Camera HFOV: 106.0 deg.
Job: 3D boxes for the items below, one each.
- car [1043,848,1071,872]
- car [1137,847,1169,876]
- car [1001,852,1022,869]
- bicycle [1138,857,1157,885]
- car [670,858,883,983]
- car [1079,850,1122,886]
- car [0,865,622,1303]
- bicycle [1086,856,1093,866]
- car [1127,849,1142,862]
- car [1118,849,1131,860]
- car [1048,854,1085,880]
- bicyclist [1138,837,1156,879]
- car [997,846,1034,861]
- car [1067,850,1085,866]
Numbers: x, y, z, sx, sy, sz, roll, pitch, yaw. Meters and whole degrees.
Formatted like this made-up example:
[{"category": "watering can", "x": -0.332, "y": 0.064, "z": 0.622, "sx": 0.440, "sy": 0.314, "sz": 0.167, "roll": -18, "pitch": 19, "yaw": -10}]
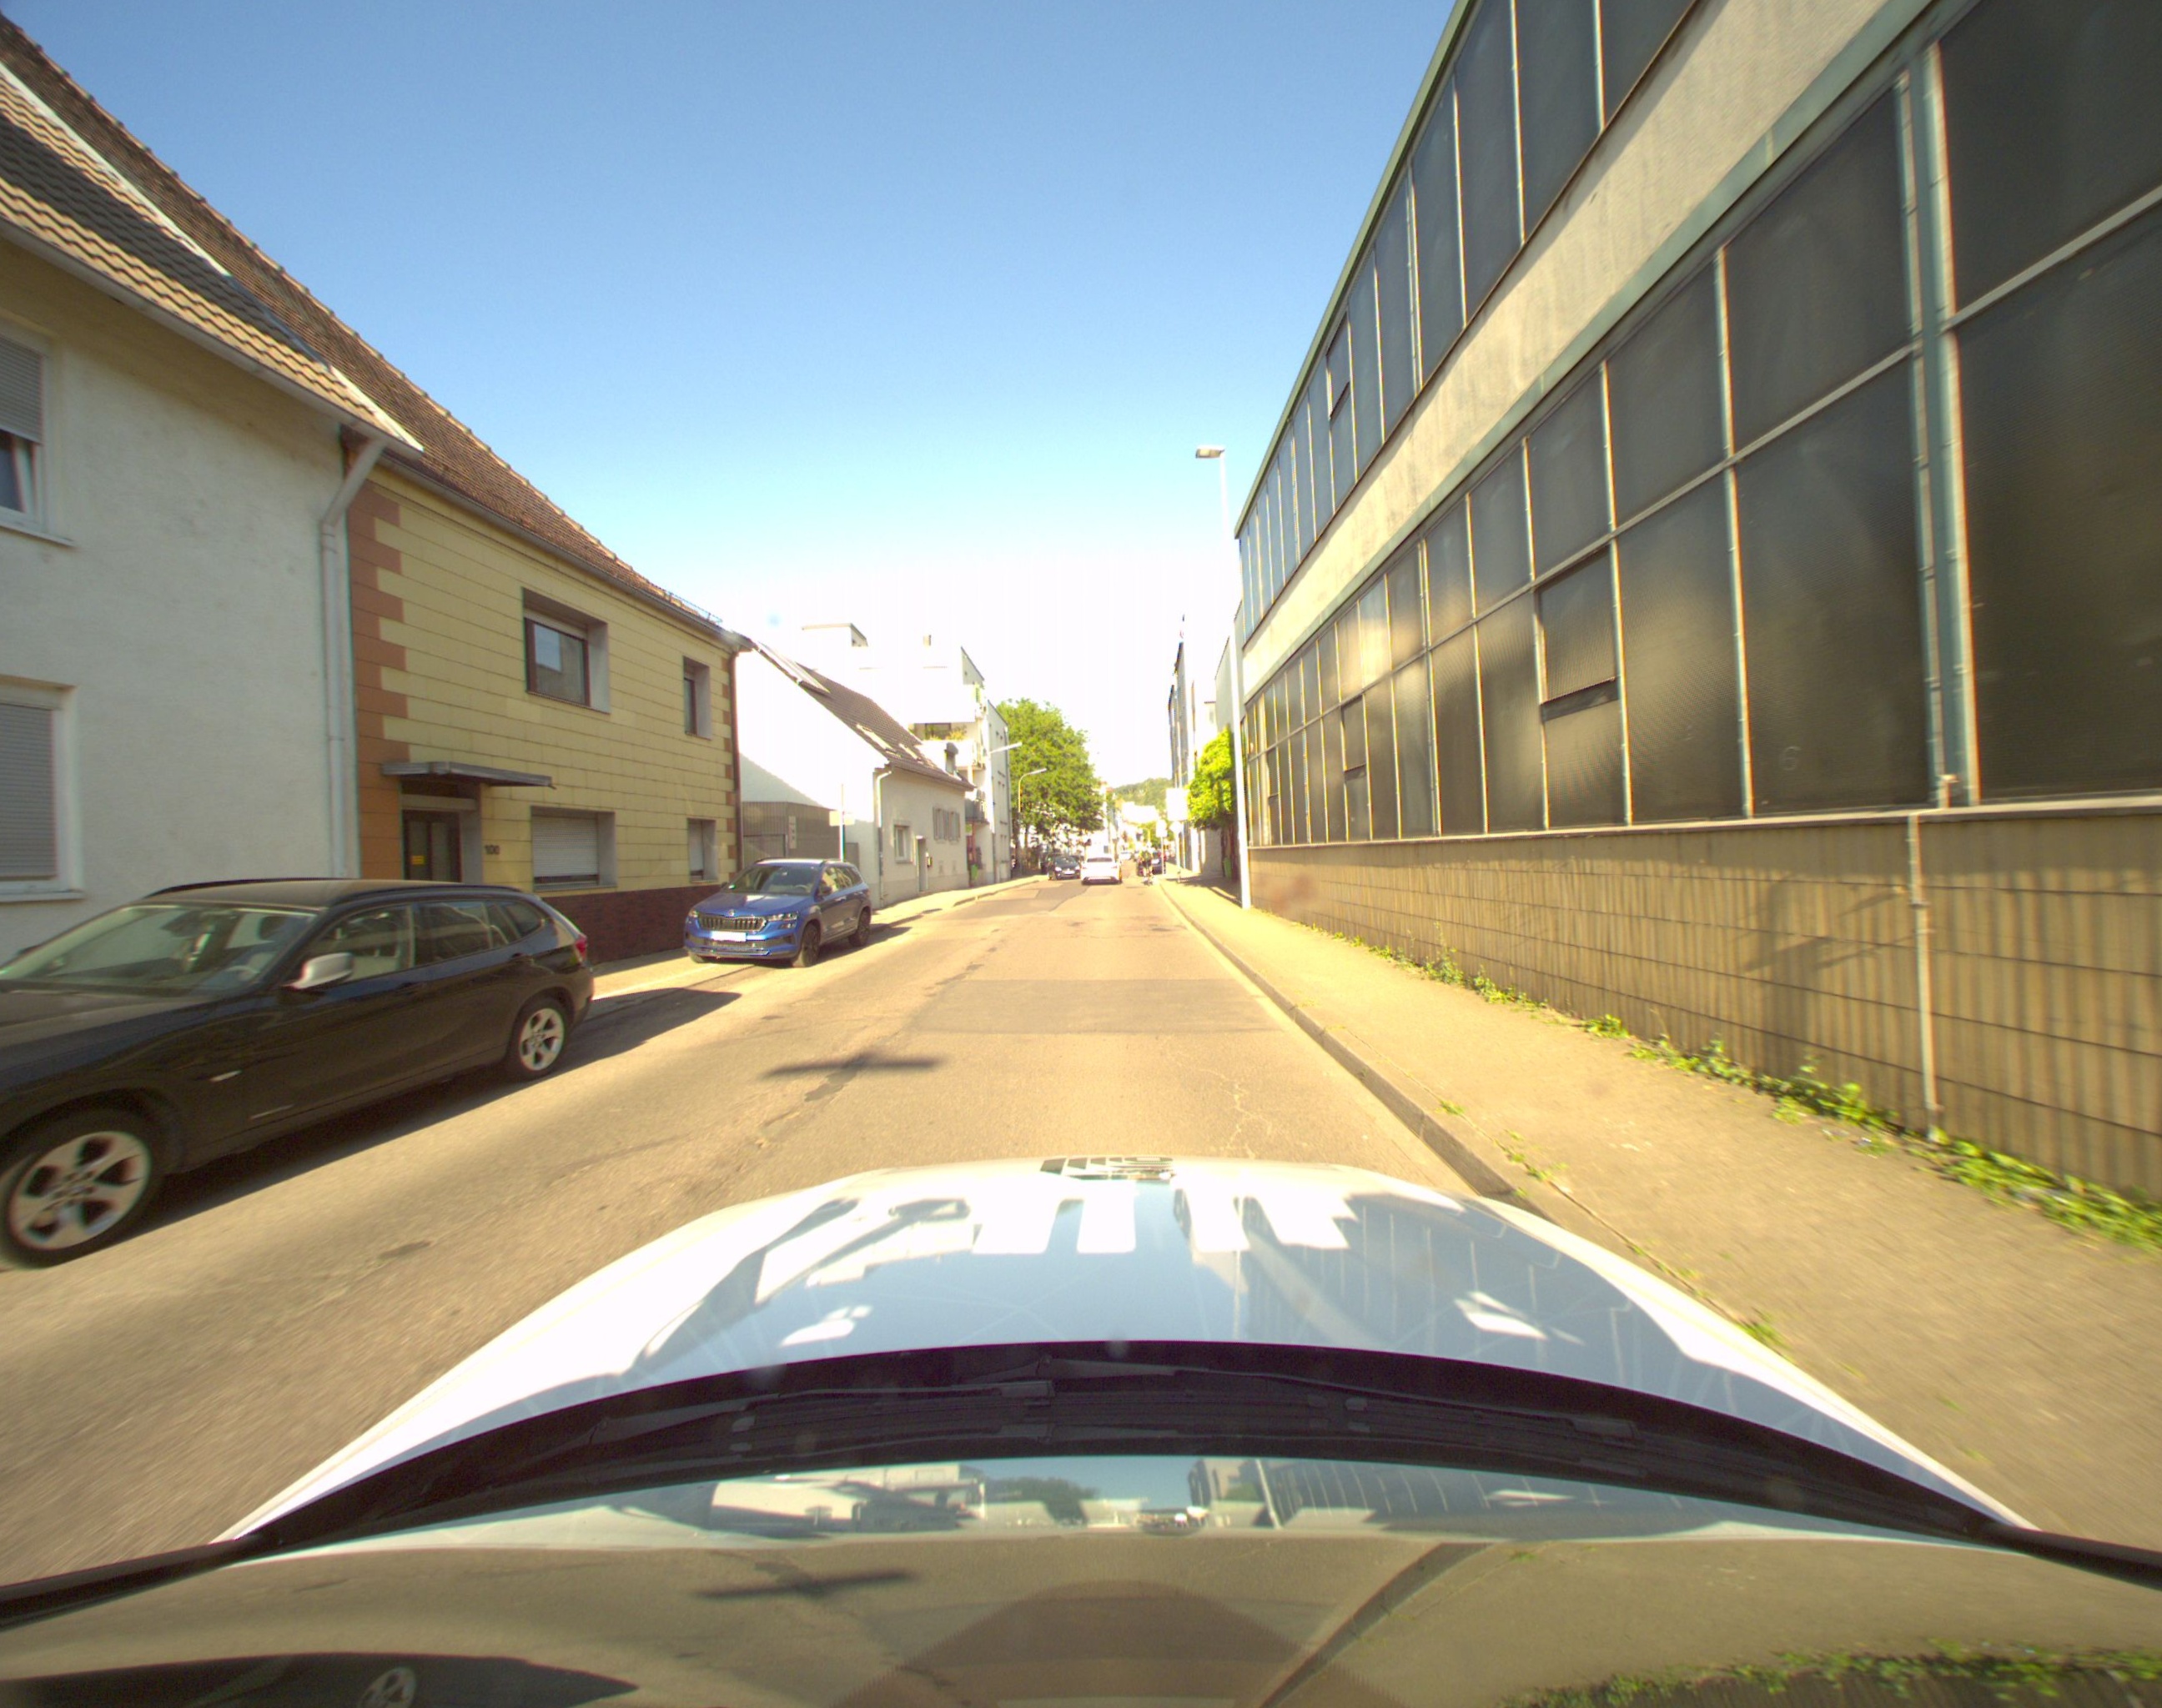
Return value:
[{"category": "car", "x": -1.963, "y": 0.468, "z": 68.897, "sx": 1.845, "sy": 1.791, "sz": 4.612, "roll": -3, "pitch": 0, "yaw": 4}, {"category": "car", "x": 4.490, "y": 0.474, "z": 51.302, "sx": 1.623, "sy": 1.587, "sz": 4.071, "roll": -6, "pitch": 0, "yaw": 2}, {"category": "car", "x": -7.296, "y": 0.677, "z": 86.214, "sx": 1.783, "sy": 1.689, "sz": 3.966, "roll": -1, "pitch": 1, "yaw": 1}, {"category": "bicycle", "x": 2.883, "y": 0.710, "z": 35.408, "sx": 0.695, "sy": 1.130, "sz": 2.405, "roll": -3, "pitch": 0, "yaw": 4}, {"category": "car", "x": -4.851, "y": 0.964, "z": 13.689, "sx": 1.802, "sy": 1.587, "sz": 4.195, "roll": -2, "pitch": 2, "yaw": 2}, {"category": "car", "x": 0.933, "y": 0.622, "z": 38.266, "sx": 1.835, "sy": 1.491, "sz": 4.145, "roll": -3, "pitch": 0, "yaw": 1}, {"category": "car", "x": -5.094, "y": 0.962, "z": 5.016, "sx": 1.850, "sy": 1.587, "sz": 4.339, "roll": -2, "pitch": 1, "yaw": 3}, {"category": "bicycle", "x": 1.079, "y": 0.860, "z": 102.354, "sx": 0.832, "sy": 1.217, "sz": 2.843, "roll": -3, "pitch": 0, "yaw": 2}, {"category": "car", "x": 7.878, "y": 0.247, "z": 119.675, "sx": 1.847, "sy": 1.791, "sz": 4.607, "roll": -3, "pitch": 0, "yaw": 0}, {"category": "car", "x": 7.653, "y": 0.095, "z": 142.770, "sx": 1.935, "sy": 1.587, "sz": 4.629, "roll": -6, "pitch": 0, "yaw": 6}, {"category": "car", "x": -0.938, "y": 0.791, "z": 50.529, "sx": 1.840, "sy": 1.491, "sz": 4.134, "roll": -3, "pitch": 0, "yaw": -7}, {"category": "bicyclist", "x": 2.850, "y": 0.168, "z": 35.314, "sx": 0.695, "sy": 1.790, "sz": 1.041, "roll": -3, "pitch": -1, "yaw": 3}, {"category": "car", "x": -7.710, "y": -0.076, "z": 95.940, "sx": 3.879, "sy": 1.575, "sz": 1.713, "roll": -3, "pitch": 0, "yaw": 7}, {"category": "car", "x": -0.543, "y": 0.414, "z": 87.344, "sx": 1.697, "sy": 1.575, "sz": 3.916, "roll": -3, "pitch": 0, "yaw": 2}]
